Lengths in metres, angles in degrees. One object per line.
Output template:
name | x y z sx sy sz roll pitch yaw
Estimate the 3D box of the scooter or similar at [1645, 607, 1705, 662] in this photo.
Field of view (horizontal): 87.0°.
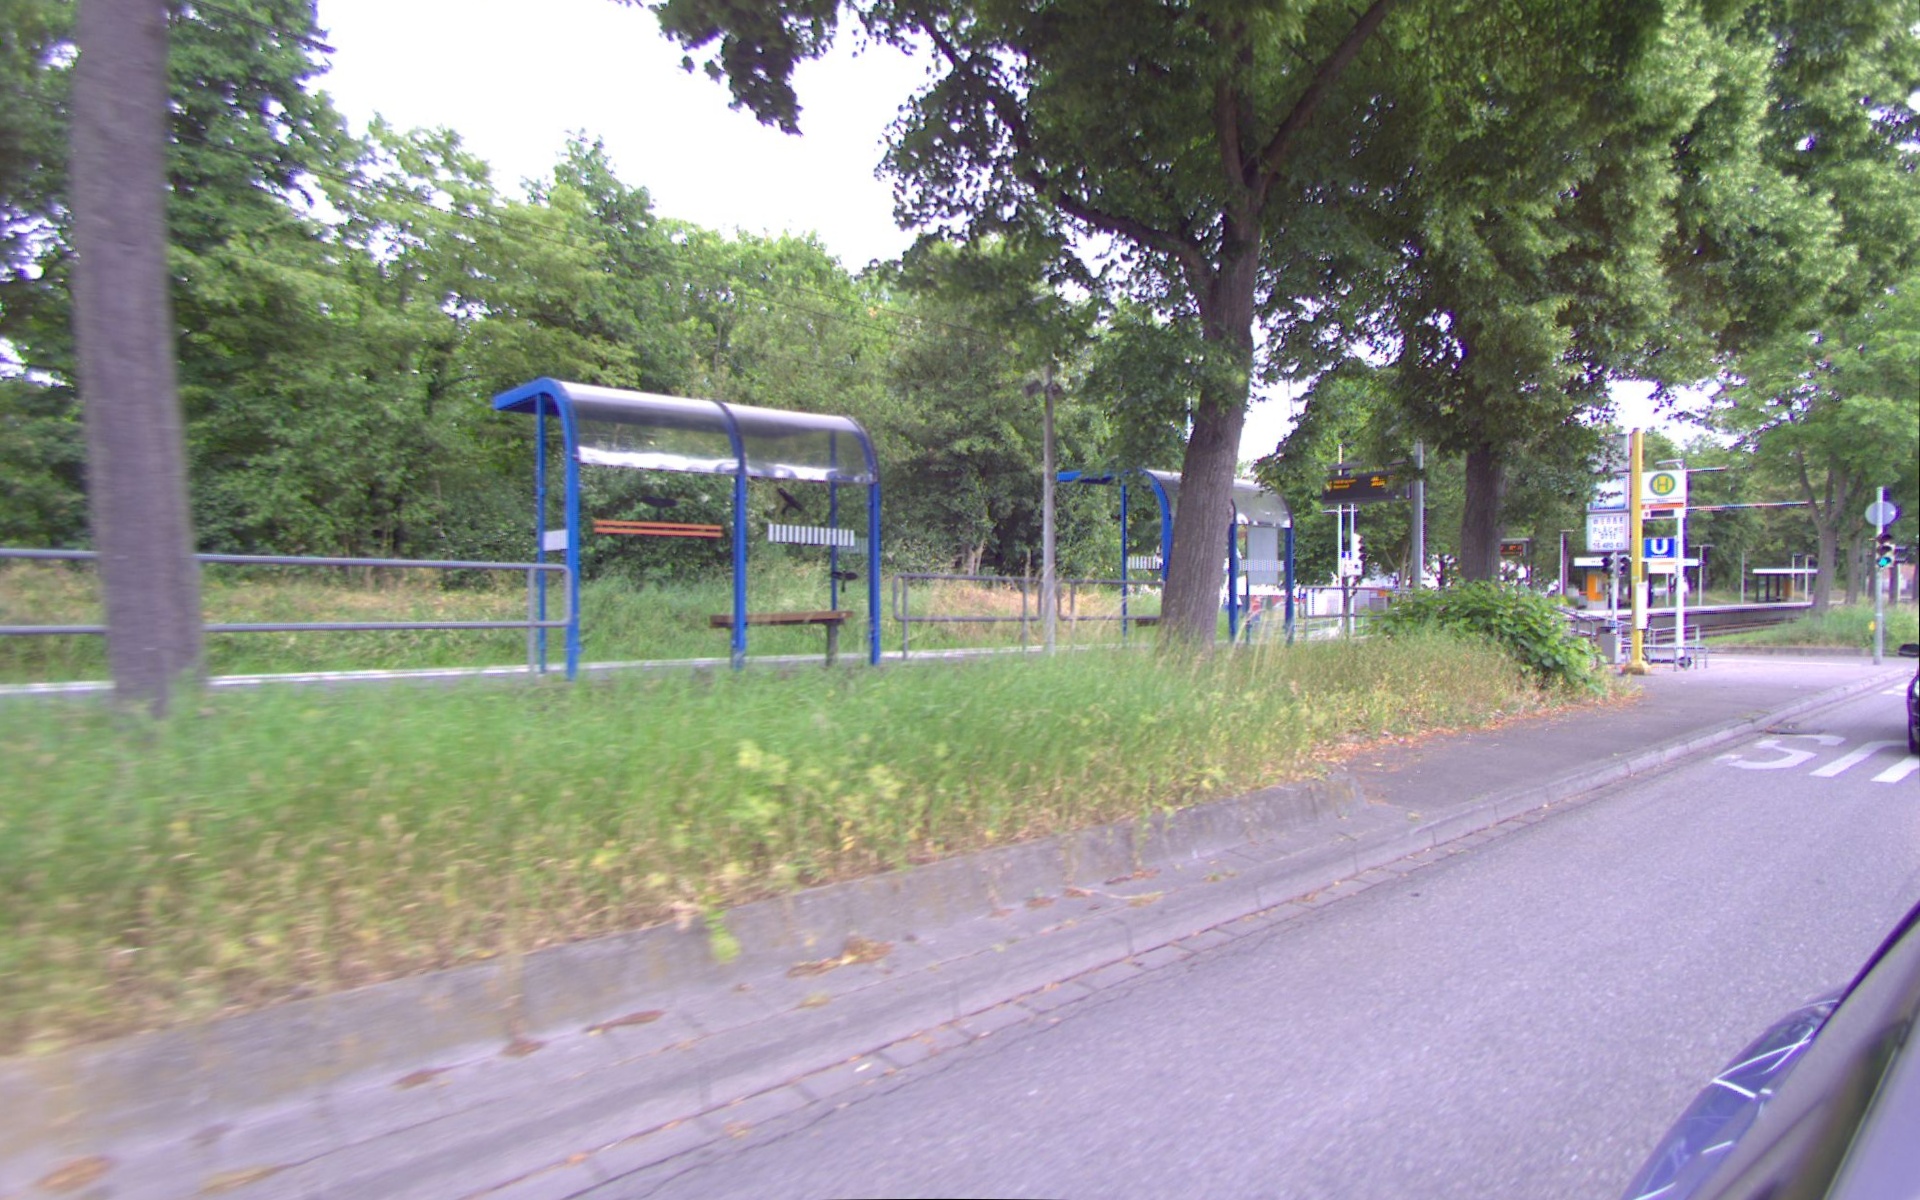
scooter or similar | 16.308 0.775 23.094 1.084 1.223 0.358 1 0 42
